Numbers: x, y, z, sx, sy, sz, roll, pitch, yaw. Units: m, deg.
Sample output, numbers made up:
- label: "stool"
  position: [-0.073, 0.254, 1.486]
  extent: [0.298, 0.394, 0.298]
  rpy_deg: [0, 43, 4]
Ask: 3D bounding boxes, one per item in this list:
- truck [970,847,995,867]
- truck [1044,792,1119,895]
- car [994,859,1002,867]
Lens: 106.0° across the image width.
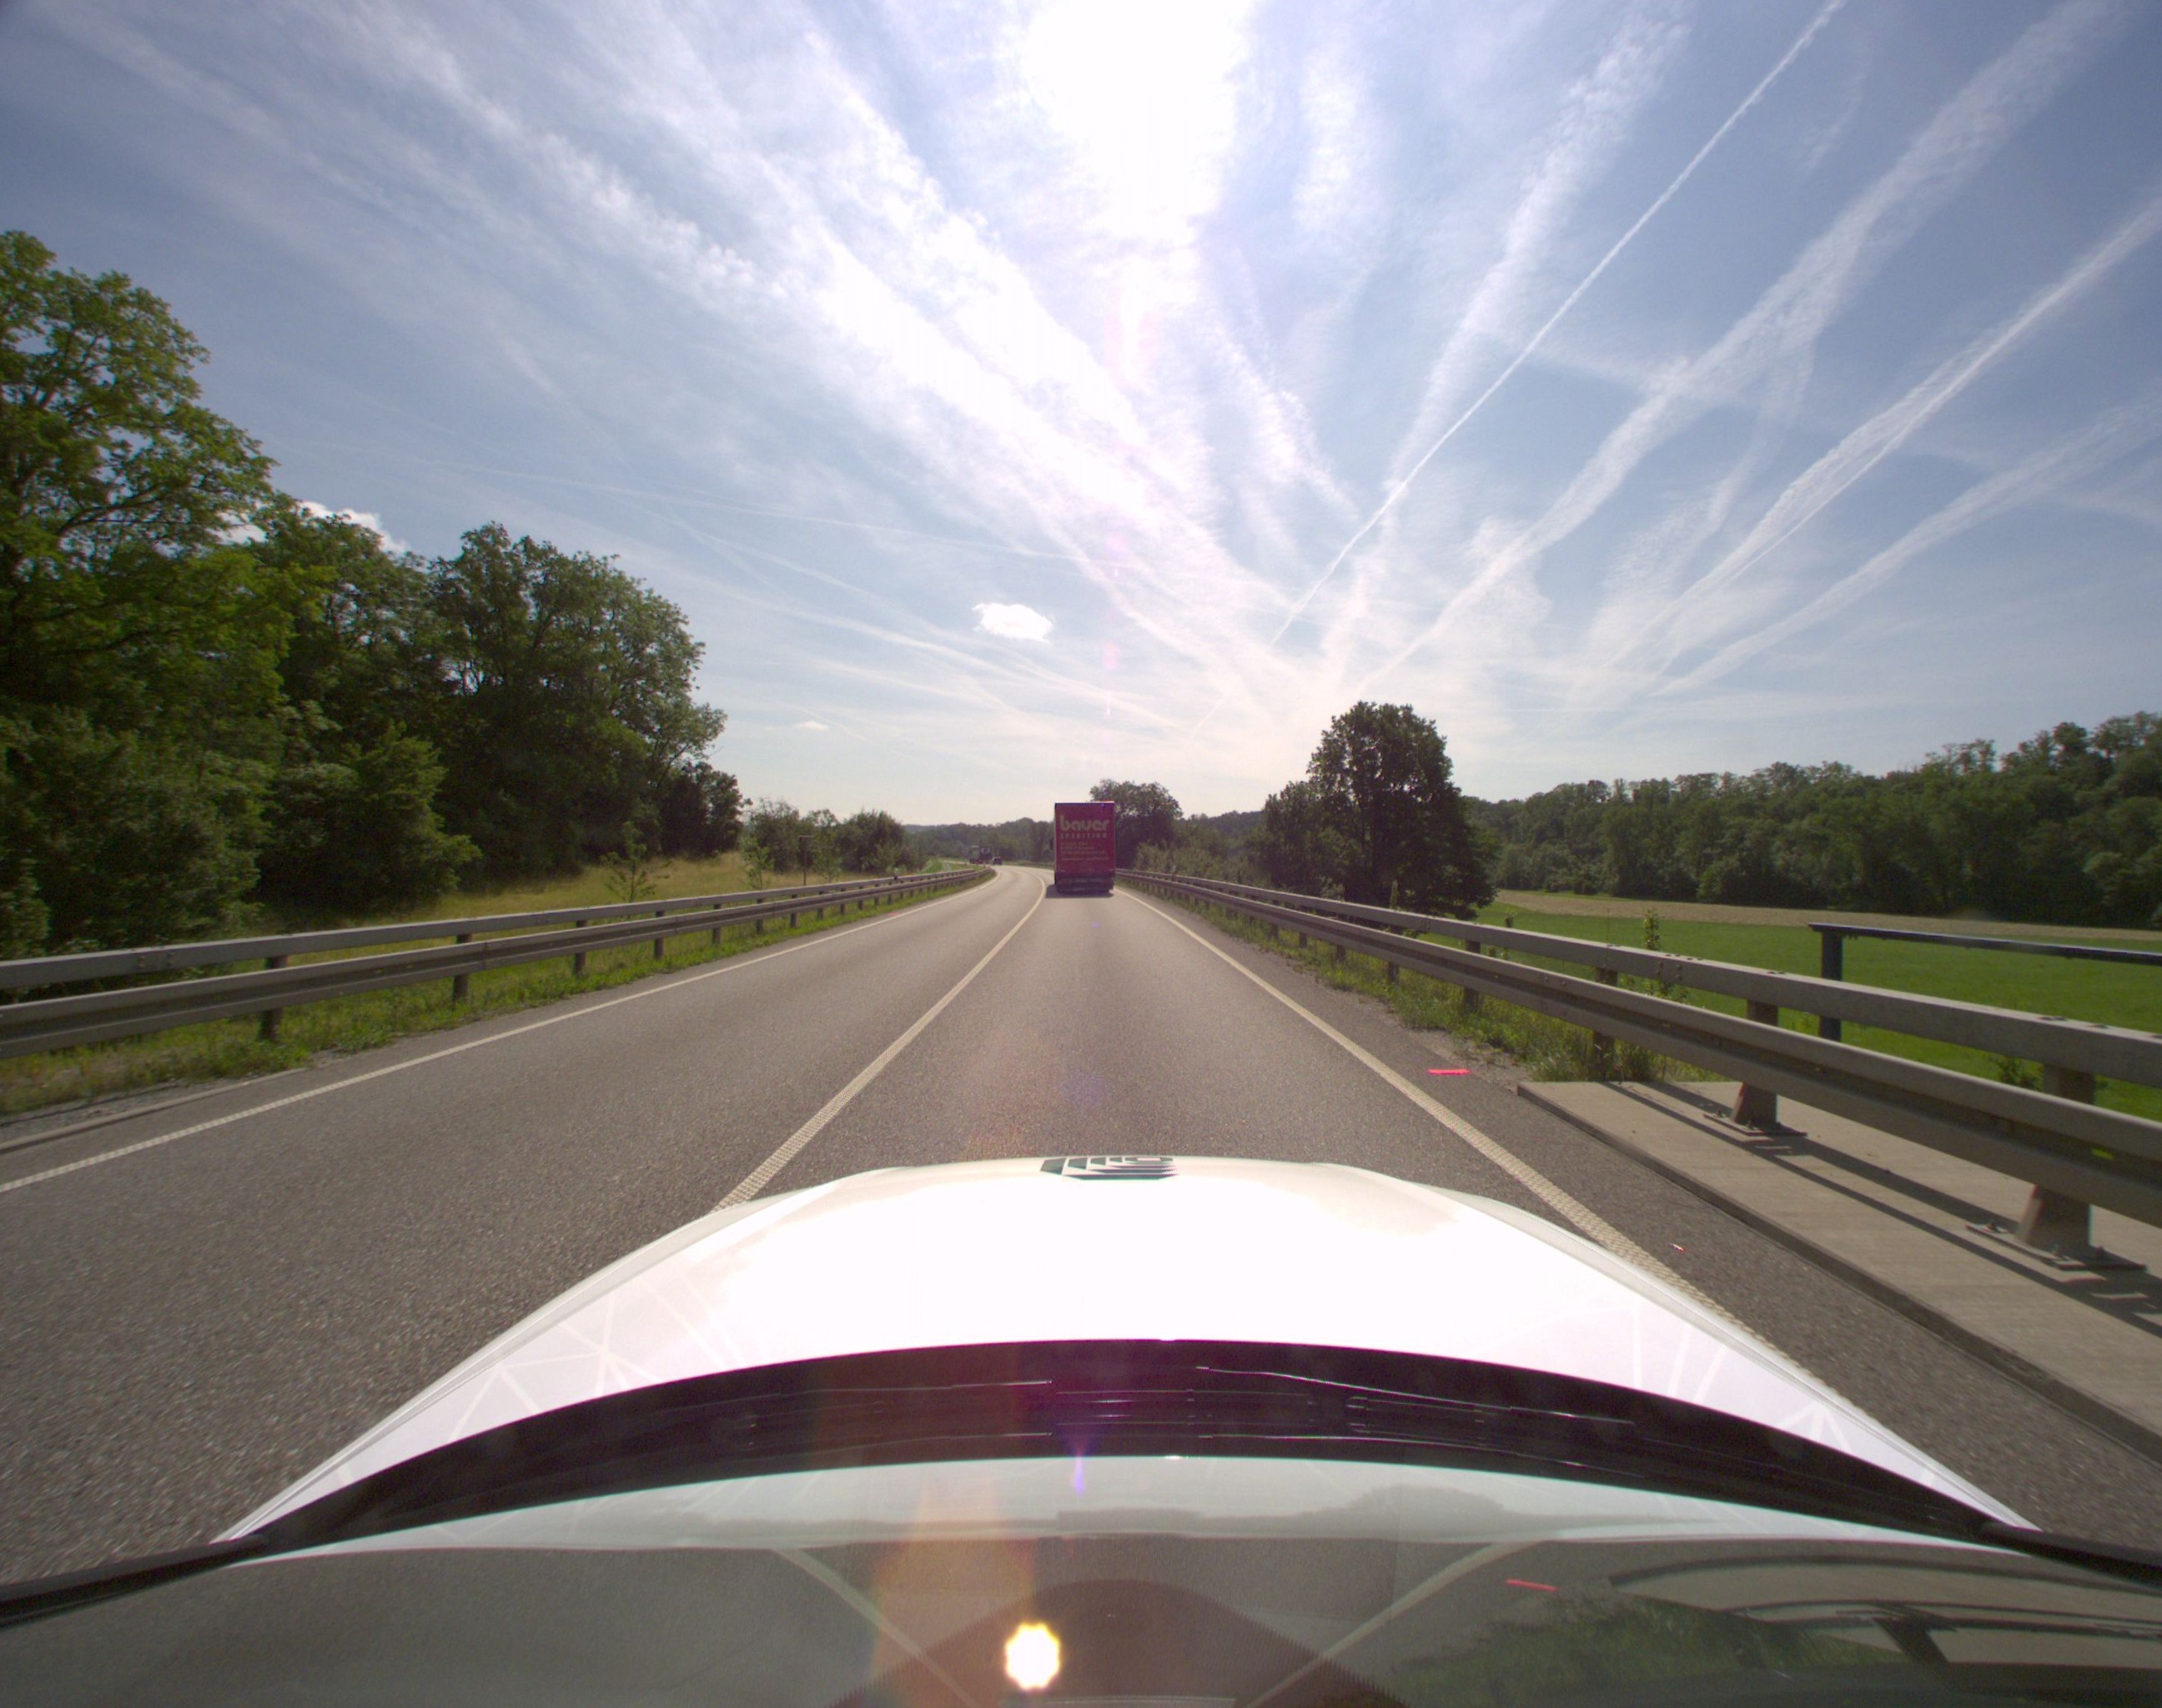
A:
- label: "truck"
  position: [-22.562, 0.696, 185.724]
  extent: [3.648, 4.292, 11.918]
  rpy_deg: [0, -1, -16]
- label: "truck"
  position: [-0.051, -0.436, 38.317]
  extent: [3.085, 4.263, 8.310]
  rpy_deg: [-1, 0, -1]
- label: "car"
  position: [-16.361, 1.716, 160.785]
  extent: [1.580, 1.501, 3.867]
  rpy_deg: [0, 0, -7]
